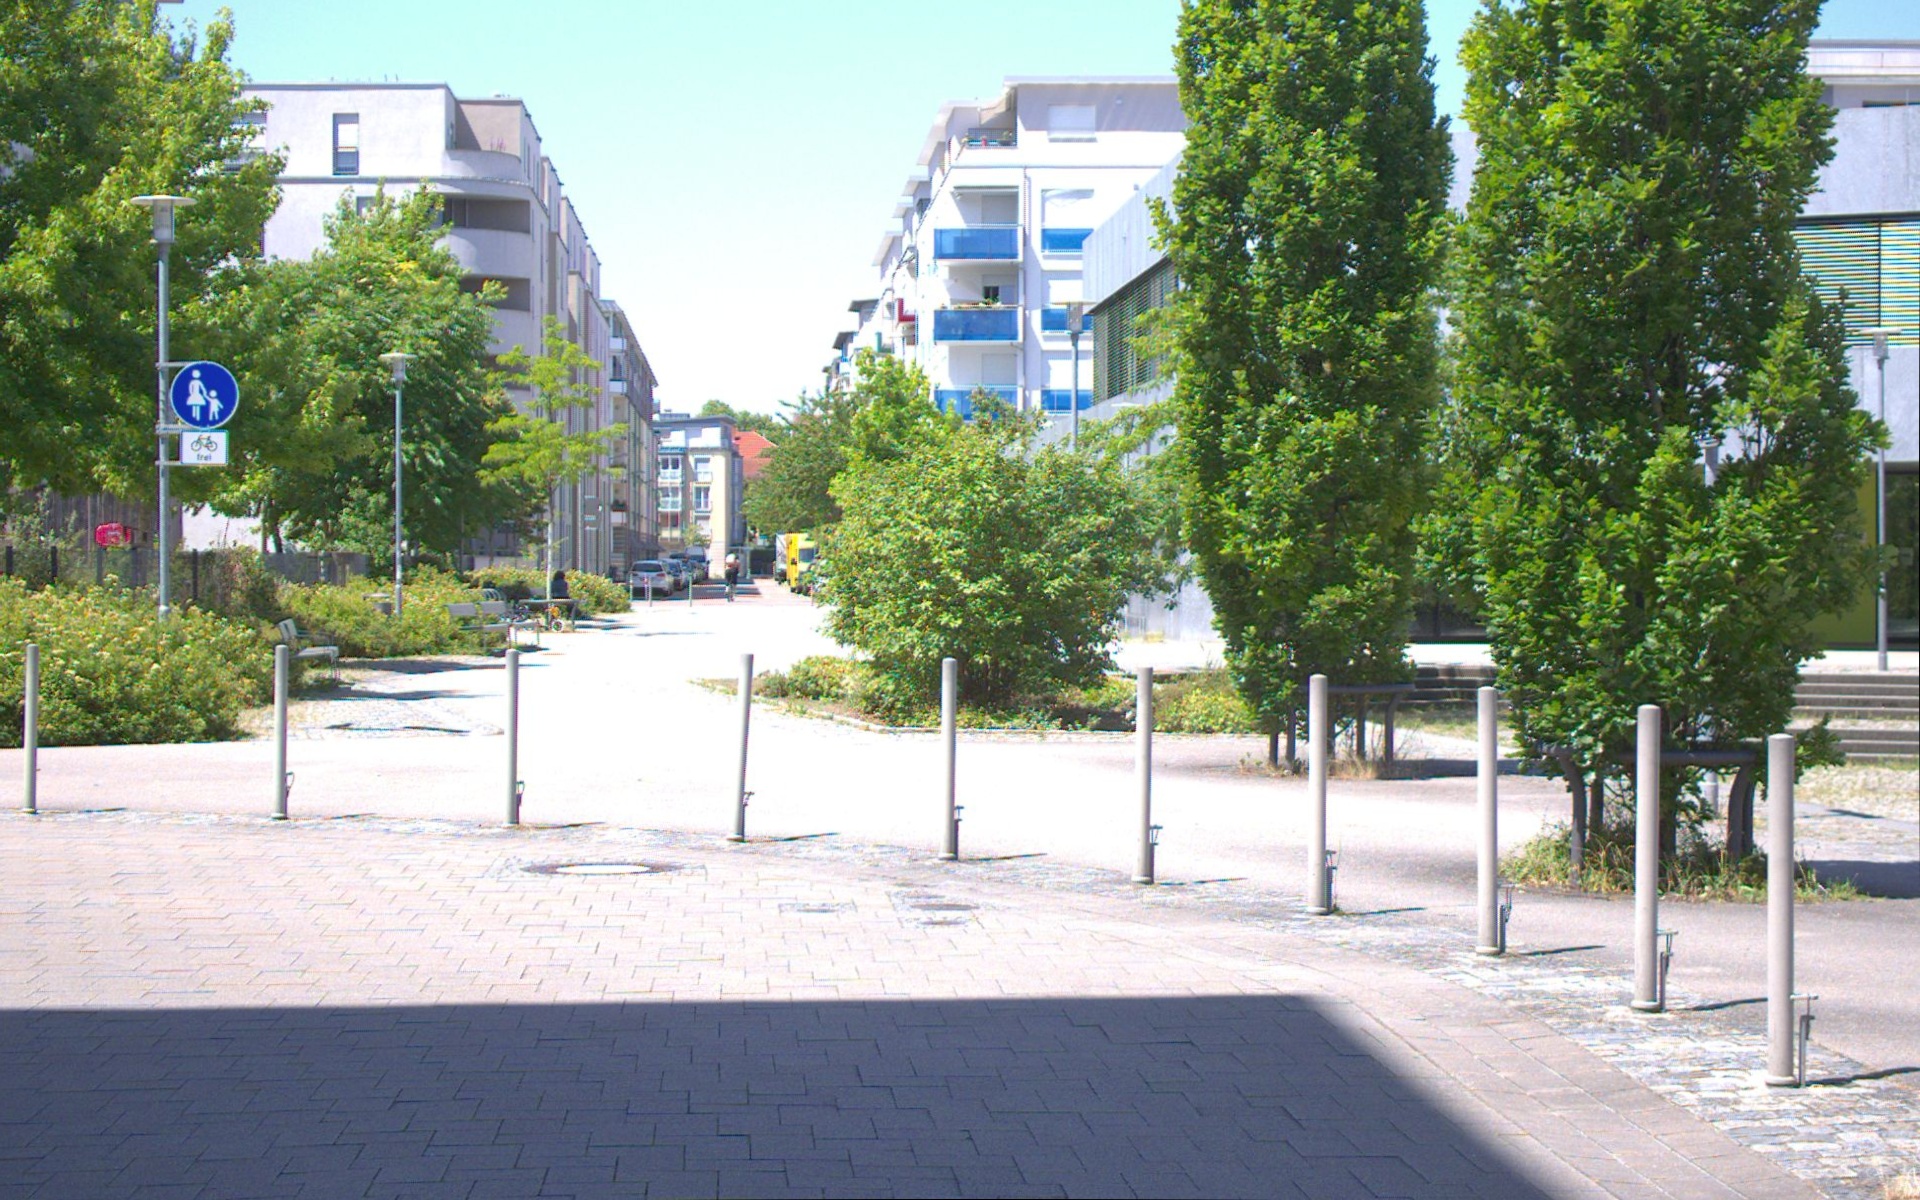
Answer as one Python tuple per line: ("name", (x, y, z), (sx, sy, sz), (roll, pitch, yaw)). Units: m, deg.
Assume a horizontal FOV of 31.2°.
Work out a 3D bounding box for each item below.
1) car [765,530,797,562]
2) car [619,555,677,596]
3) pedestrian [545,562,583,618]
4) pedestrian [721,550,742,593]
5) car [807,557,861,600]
("car", (-11.837, -3.571, 227.325), (1.993, 2.007, 4.000), (0, 0, -4))
("car", (-12.732, -0.984, 140.466), (2.146, 1.646, 4.088), (0, 0, -2))
("pedestrian", (-9.657, -0.244, 83.870), (0.847, 1.343, 0.696), (1, 0, -3))
("pedestrian", (-8.024, -1.003, 120.530), (0.694, 1.524, 0.599), (0, 1, -1))
("car", (-4.834, -0.834, 132.206), (1.993, 1.604, 4.000), (0, 0, -2))
